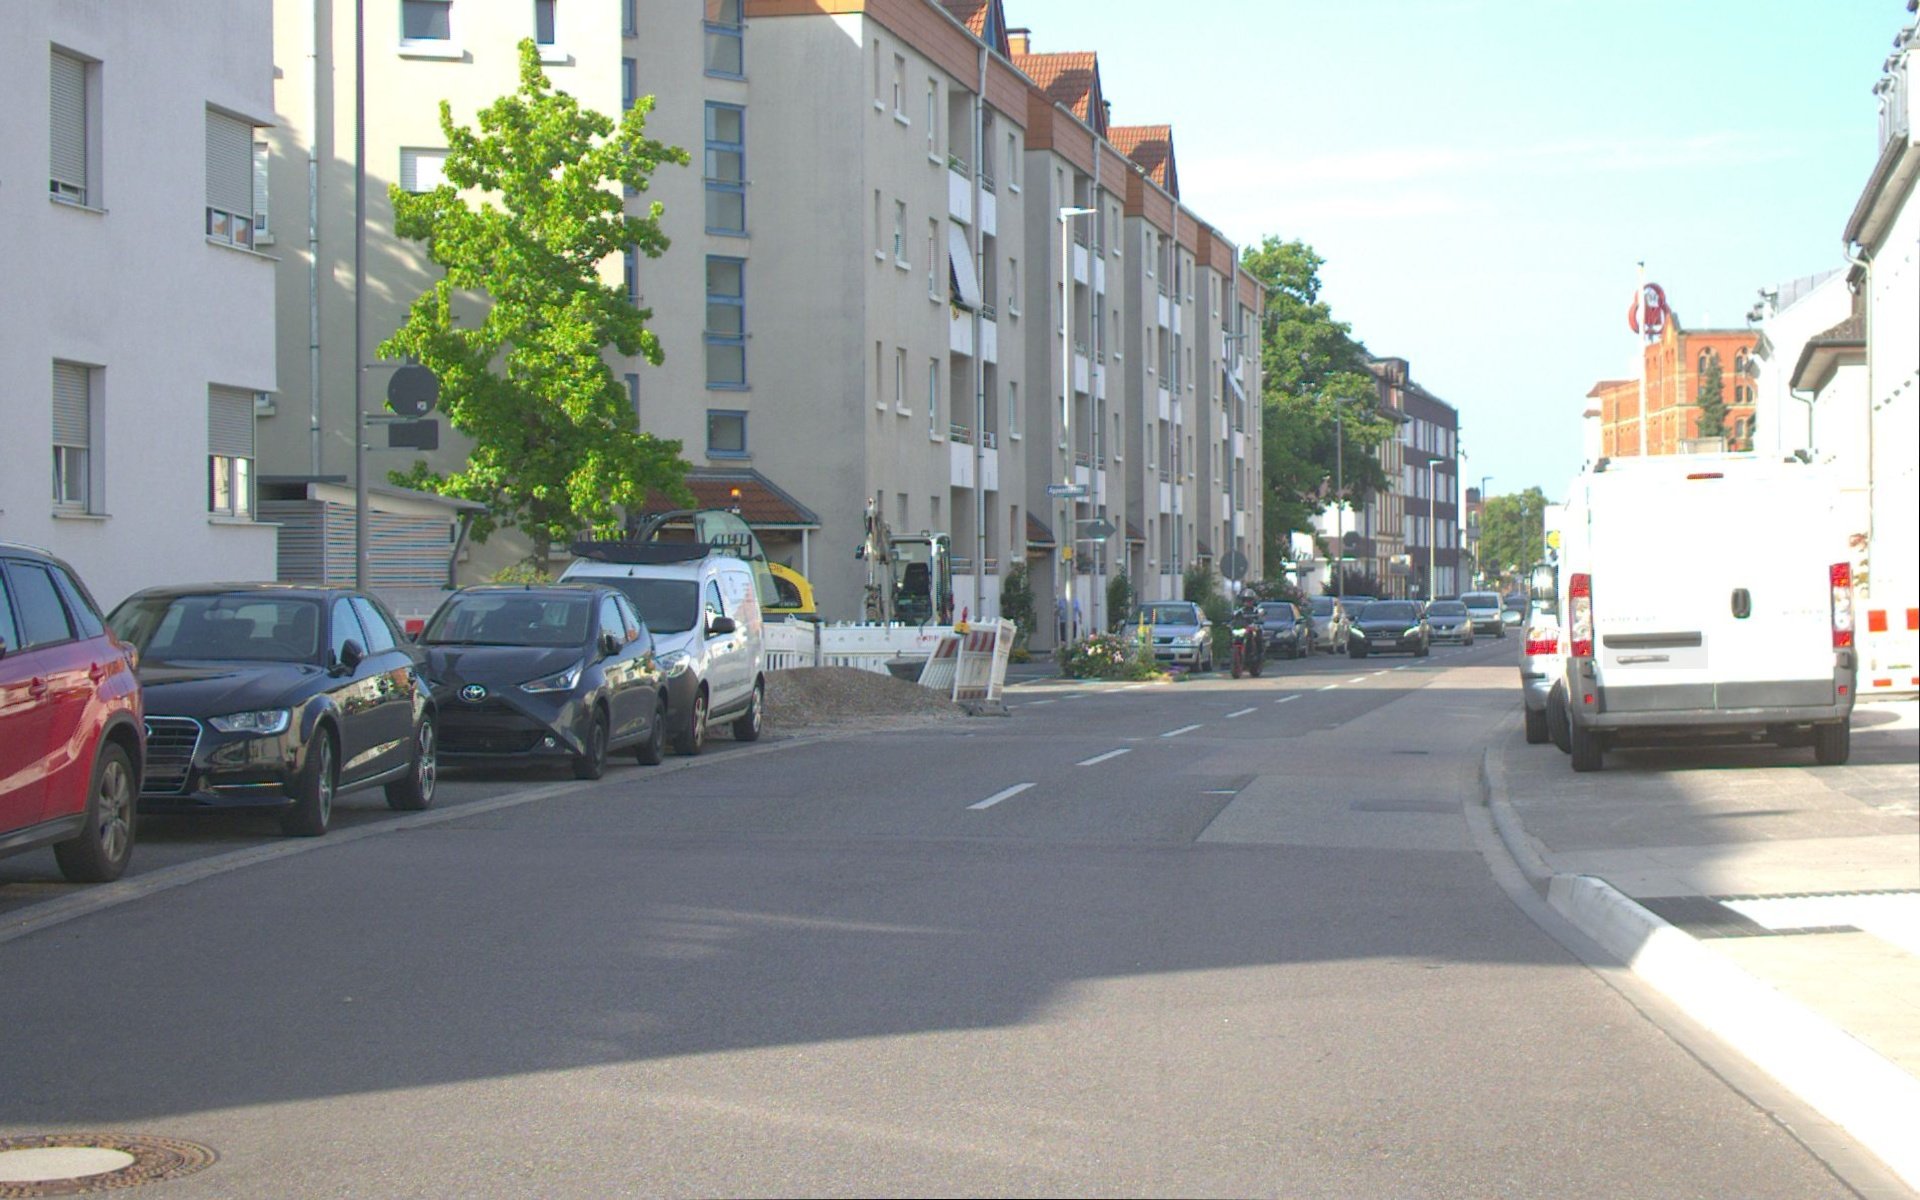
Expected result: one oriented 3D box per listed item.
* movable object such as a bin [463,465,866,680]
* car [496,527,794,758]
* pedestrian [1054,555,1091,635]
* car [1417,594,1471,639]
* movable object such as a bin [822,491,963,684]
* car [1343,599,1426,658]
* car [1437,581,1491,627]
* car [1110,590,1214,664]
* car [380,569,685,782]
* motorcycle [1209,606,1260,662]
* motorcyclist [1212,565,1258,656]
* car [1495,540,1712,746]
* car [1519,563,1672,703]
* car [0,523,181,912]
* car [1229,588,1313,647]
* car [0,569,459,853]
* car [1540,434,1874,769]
[{"bbox_3d":[-4.128,-0.390,48.342,5.496,2.890,2.112,1,1,-4],"label":"movable object such as a bin"},{"bbox_3d":[-2.804,0.341,31.555,1.728,1.954,4.437,1,1,8],"label":"car"},{"bbox_3d":[2.552,-0.112,77.789,0.719,1.812,0.745,0,1,12],"label":"pedestrian"},{"bbox_3d":[16.044,0.541,113.845,1.618,1.450,3.683,-1,0,10],"label":"car"},{"bbox_3d":[-1.105,-0.242,57.978,1.648,3.127,3.899,1,1,10],"label":"movable object such as a bin"},{"bbox_3d":[10.606,0.699,85.756,1.830,1.415,4.207,-1,0,10],"label":"car"},{"bbox_3d":[19.757,0.132,134.667,1.923,1.761,4.336,0,0,10],"label":"car"},{"bbox_3d":[3.997,0.511,67.574,1.641,1.391,3.670,-1,0,10],"label":"car"},{"bbox_3d":[-3.225,0.524,26.511,1.493,1.460,3.513,3,1,6],"label":"car"},{"bbox_3d":[5.026,0.611,62.818,0.768,0.981,2.198,0,1,9],"label":"motorcycle"},{"bbox_3d":[5.019,0.191,62.796,0.769,1.646,0.843,0,1,9],"label":"motorcyclist"},{"bbox_3d":[5.919,0.354,32.022,1.778,1.735,4.482,-2,0,9],"label":"car"},{"bbox_3d":[8.261,0.390,44.672,1.813,1.678,4.474,-2,0,11],"label":"car"},{"bbox_3d":[-4.829,0.486,14.824,1.727,1.616,4.263,0,1,4],"label":"car"},{"bbox_3d":[7.744,0.418,85.338,1.686,1.401,4.082,1,0,10],"label":"car"},{"bbox_3d":[-4.256,0.562,20.261,1.727,1.473,4.263,1,1,4],"label":"car"},{"bbox_3d":[5.728,-0.005,26.956,2.175,2.319,4.996,-2,0,9],"label":"car"}]
